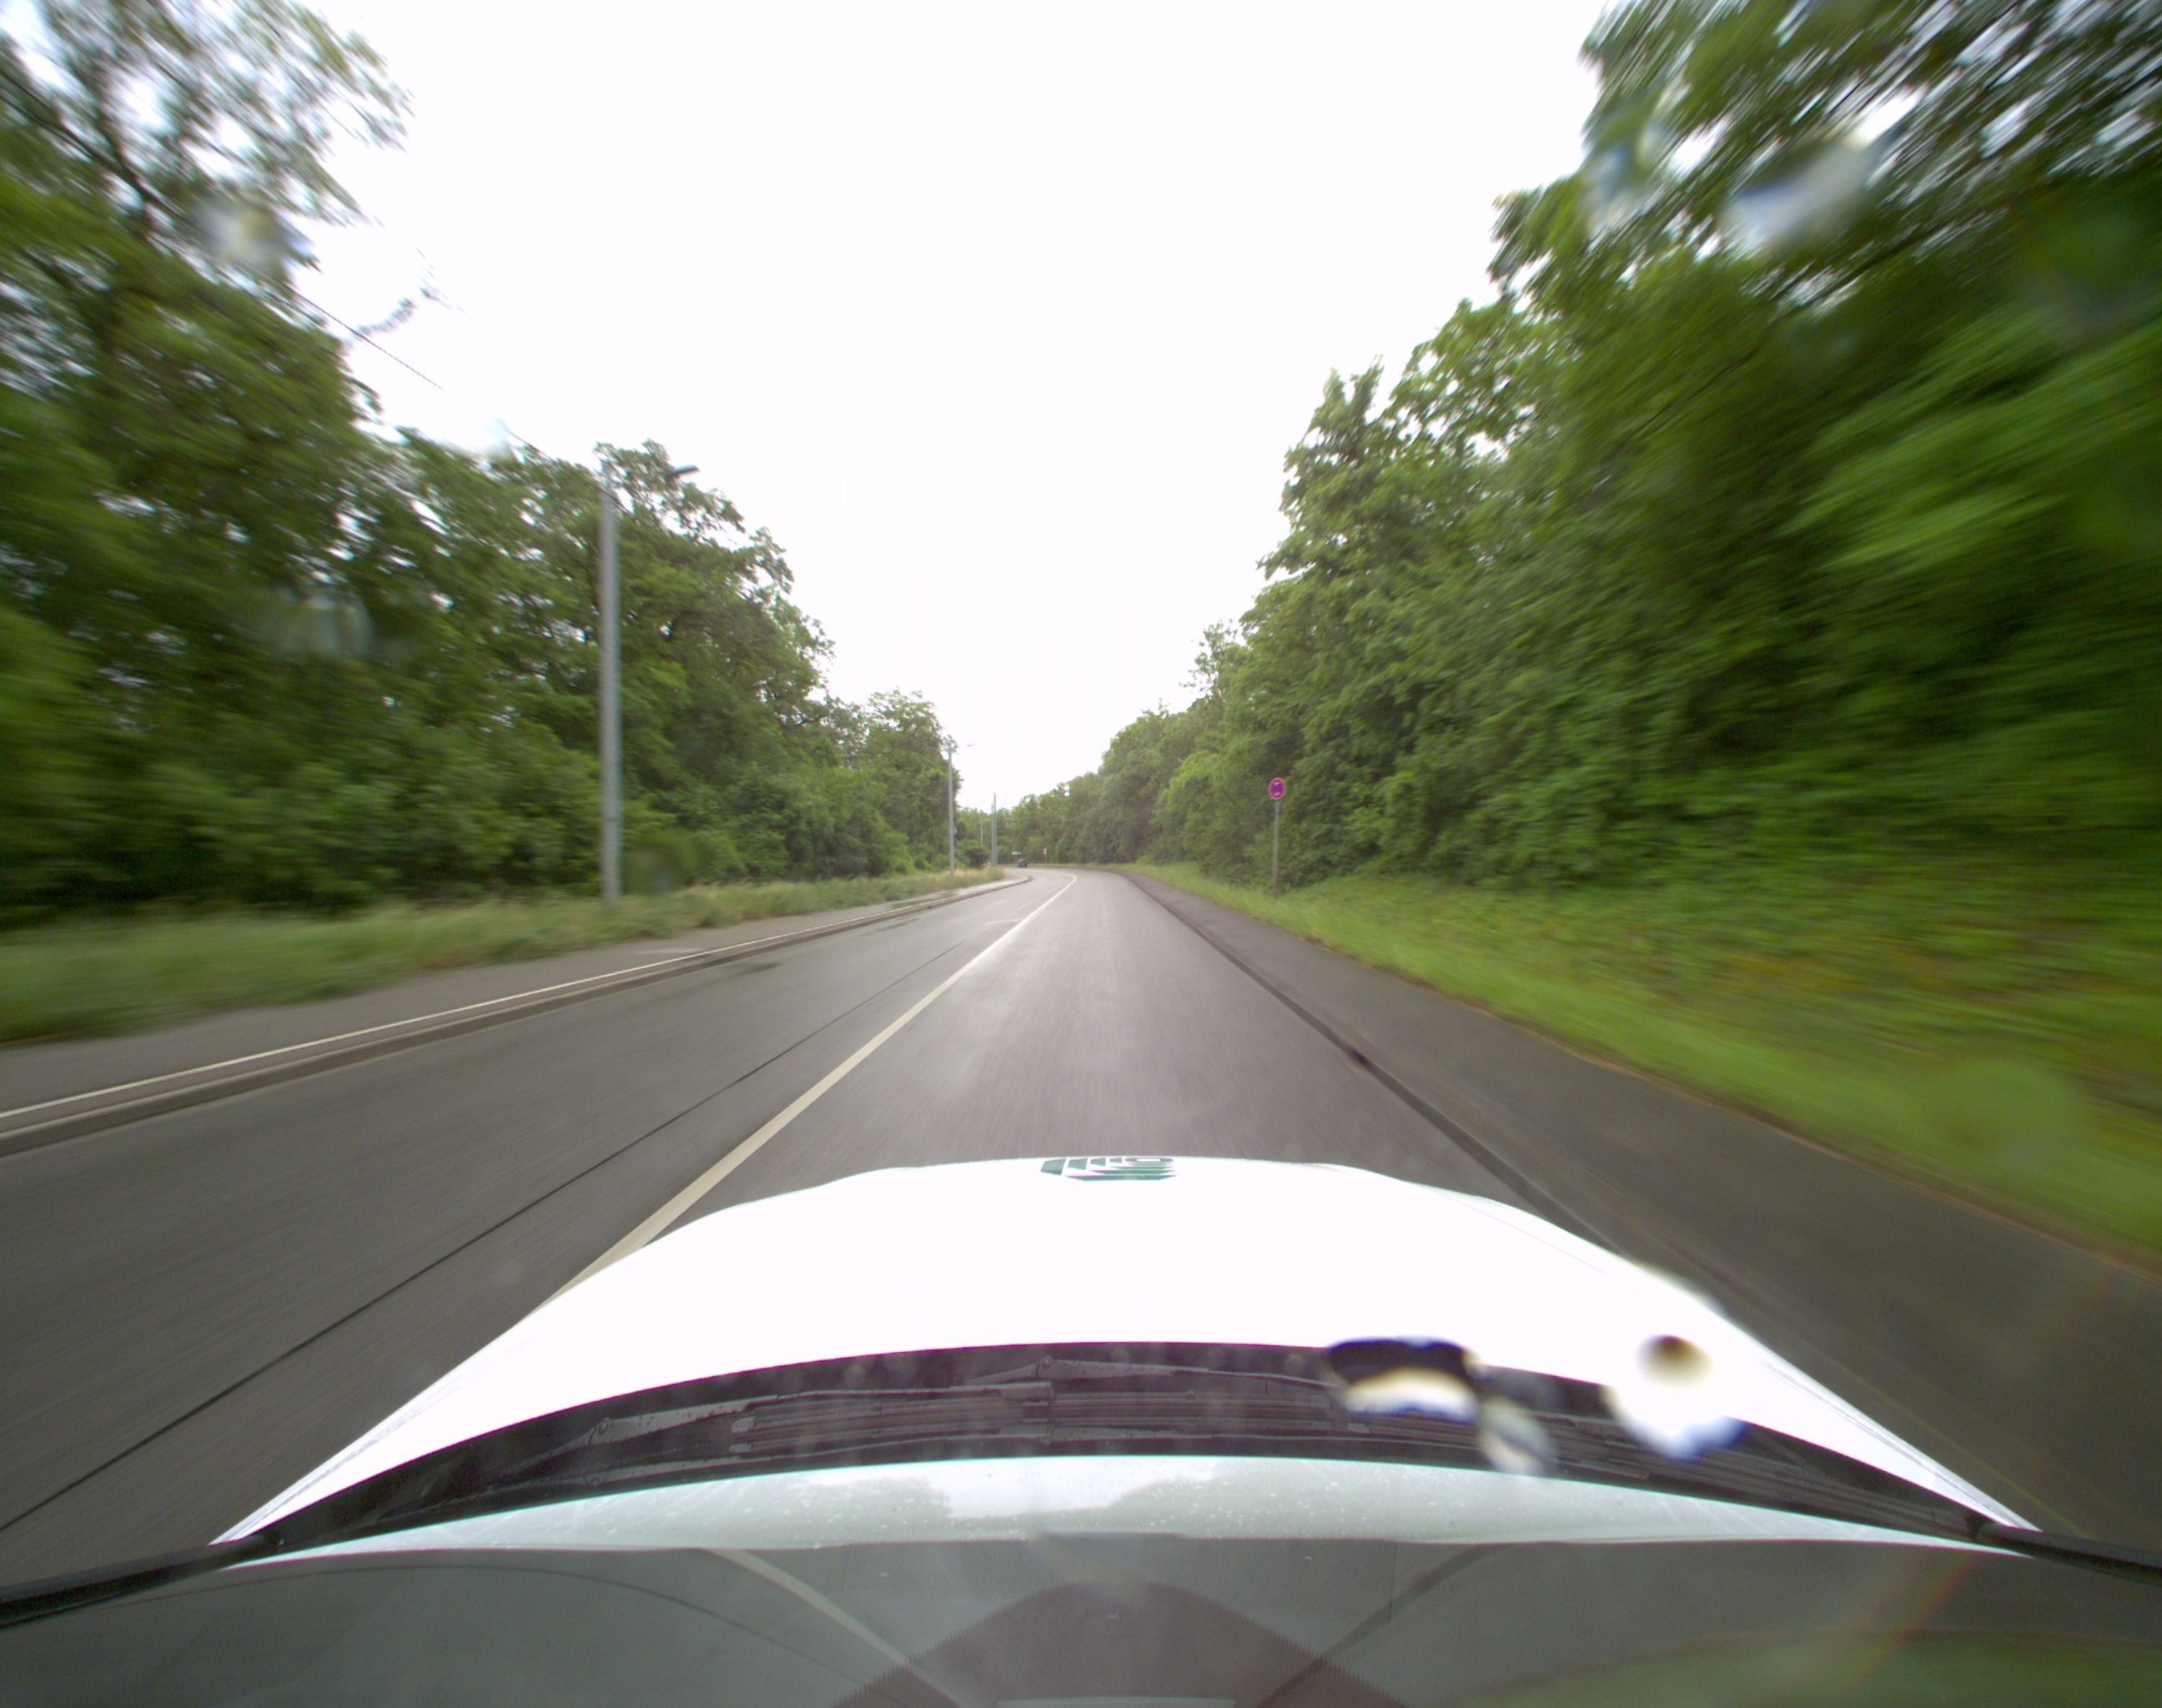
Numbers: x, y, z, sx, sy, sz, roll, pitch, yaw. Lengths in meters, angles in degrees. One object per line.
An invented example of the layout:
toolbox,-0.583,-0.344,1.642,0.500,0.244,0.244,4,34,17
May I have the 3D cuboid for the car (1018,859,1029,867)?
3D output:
car,-11.982,1.921,170.015,1.868,1.596,3.985,3,-1,-11
